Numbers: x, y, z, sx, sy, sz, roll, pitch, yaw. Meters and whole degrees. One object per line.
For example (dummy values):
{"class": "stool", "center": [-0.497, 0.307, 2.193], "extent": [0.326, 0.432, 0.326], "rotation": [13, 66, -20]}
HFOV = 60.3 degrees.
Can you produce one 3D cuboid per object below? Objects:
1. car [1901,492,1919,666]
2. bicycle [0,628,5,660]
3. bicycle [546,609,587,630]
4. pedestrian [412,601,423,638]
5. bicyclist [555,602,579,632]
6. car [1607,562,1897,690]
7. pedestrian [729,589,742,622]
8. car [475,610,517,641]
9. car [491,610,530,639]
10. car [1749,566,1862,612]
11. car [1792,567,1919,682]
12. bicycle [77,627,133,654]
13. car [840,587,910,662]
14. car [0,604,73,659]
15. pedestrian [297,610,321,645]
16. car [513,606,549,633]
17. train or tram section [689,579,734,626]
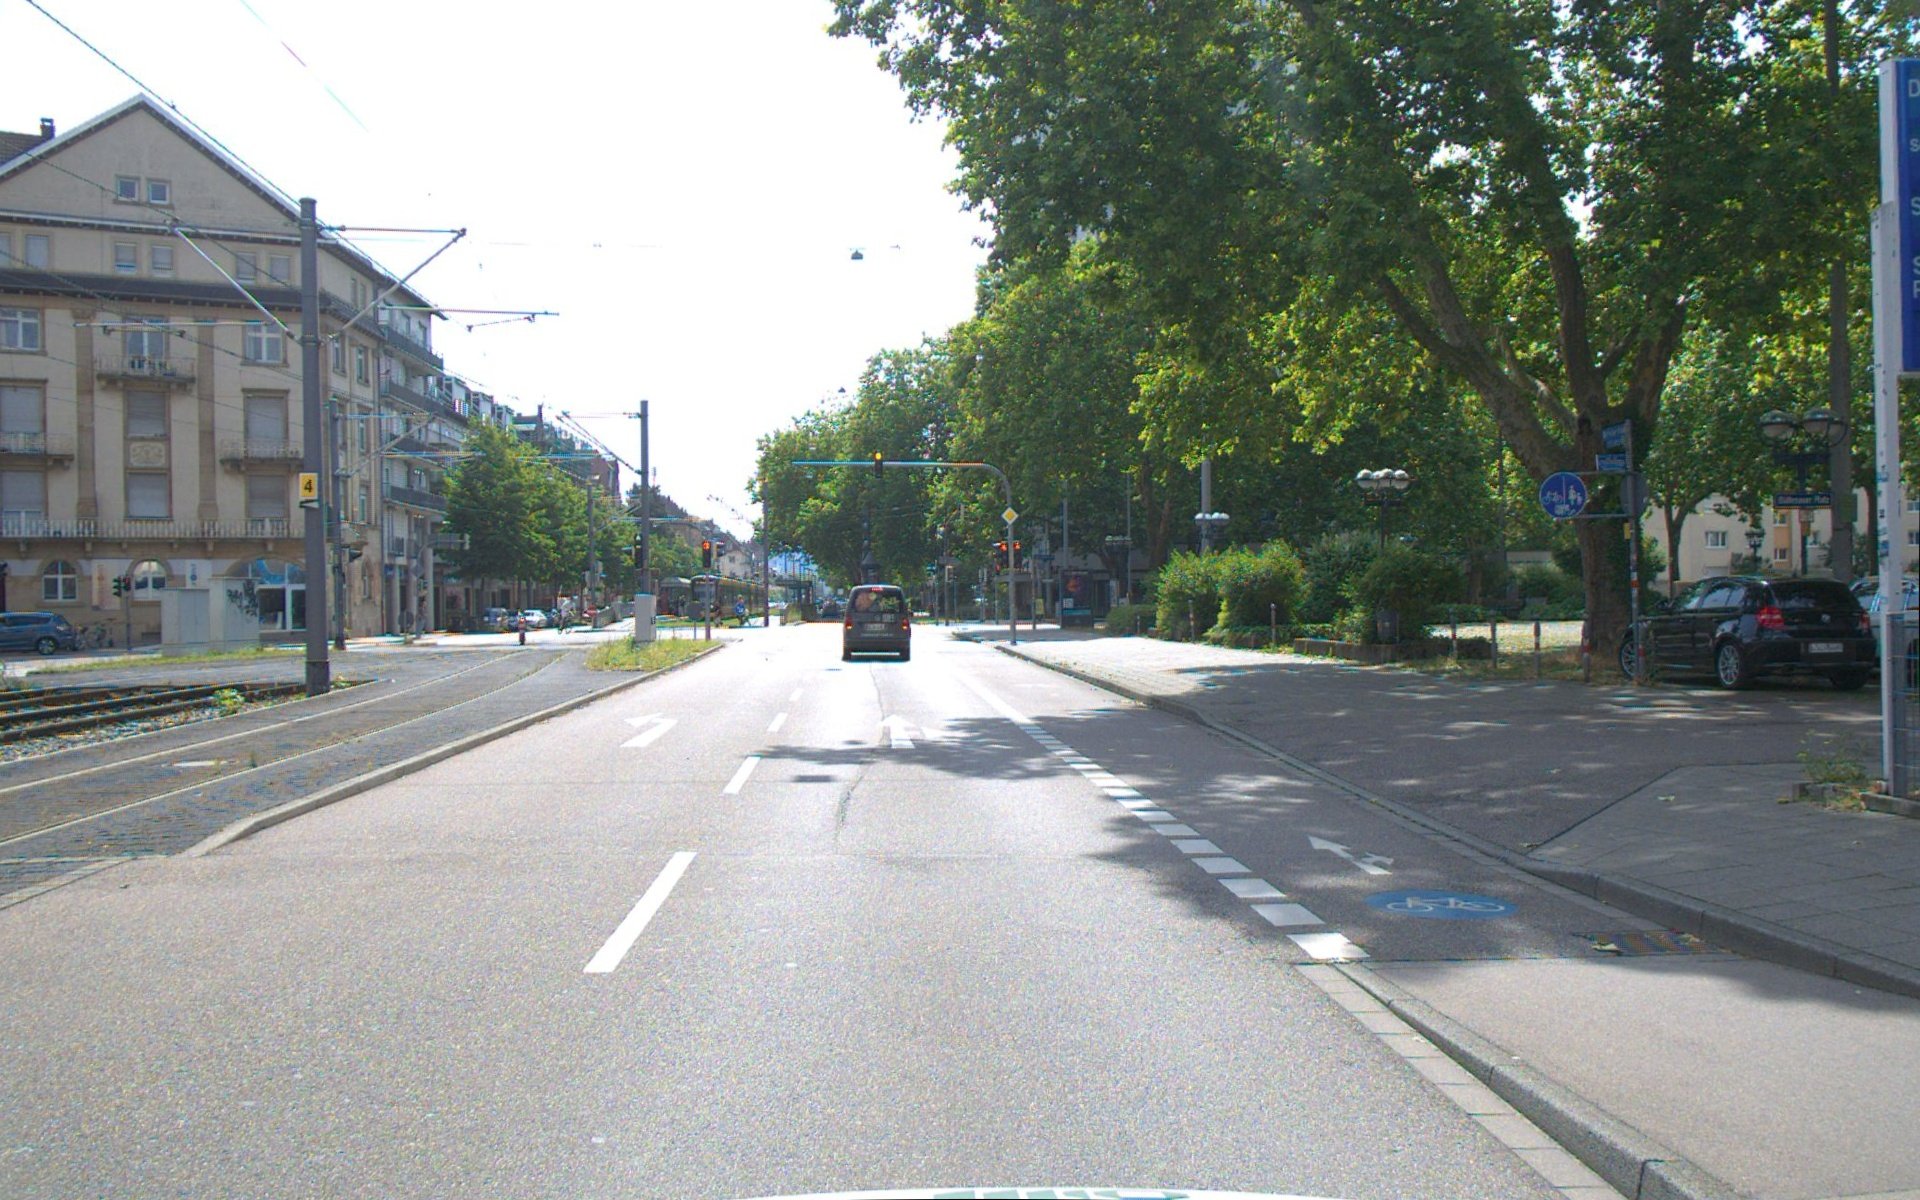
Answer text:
{"class": "car", "center": [15.621, -0.340, 22.458], "extent": [2.069, 2.627, 6.017], "rotation": [-1, 0, -2]}
{"class": "bicycle", "center": [-40.722, 1.842, 67.470], "extent": [3.239, 1.275, 1.000], "rotation": [-1, 0, 13]}
{"class": "bicycle", "center": [-20.306, 1.010, 85.259], "extent": [2.266, 1.067, 0.892], "rotation": [-1, 0, 41]}
{"class": "pedestrian", "center": [-30.042, 1.094, 91.653], "extent": [0.468, 2.049, 0.419], "rotation": [-1, 0, -9]}
{"class": "bicyclist", "center": [-20.272, 0.870, 85.249], "extent": [0.982, 1.538, 0.776], "rotation": [-1, 0, 41]}
{"class": "car", "center": [10.257, 0.304, 21.776], "extent": [1.616, 1.496, 4.039], "rotation": [-1, 0, -5]}
{"class": "pedestrian", "center": [-12.410, 0.298, 91.554], "extent": [0.646, 1.815, 0.660], "rotation": [-1, 0, -4]}
{"class": "car", "center": [-32.630, 1.781, 116.417], "extent": [1.954, 2.049, 3.997], "rotation": [-1, 0, -4]}
{"class": "car", "center": [-32.953, 1.791, 121.243], "extent": [1.954, 2.049, 3.997], "rotation": [-1, 0, -4]}
{"class": "car", "center": [40.554, -0.513, 79.377], "extent": [4.326, 2.049, 2.076], "rotation": [-1, 0, -3]}
{"class": "car", "center": [12.909, 0.291, 21.665], "extent": [1.617, 1.454, 4.036], "rotation": [-1, 0, -7]}
{"class": "bicycle", "center": [-36.655, 1.711, 70.957], "extent": [0.786, 1.071, 2.568], "rotation": [-1, 0, 8]}
{"class": "car", "center": [-2.181, 0.604, 42.504], "extent": [1.715, 1.840, 3.472], "rotation": [0, 0, -3]}
{"class": "car", "center": [-37.335, 1.238, 64.571], "extent": [4.738, 2.049, 1.980], "rotation": [-1, 0, -30]}
{"class": "pedestrian", "center": [-30.374, 1.287, 77.150], "extent": [0.855, 1.623, 0.683], "rotation": [-1, 0, -42]}
{"class": "car", "center": [-33.661, 1.503, 129.718], "extent": [1.954, 2.049, 3.997], "rotation": [-1, 0, -4]}
{"class": "train or tram section", "center": [-19.289, 0.194, 128.899], "extent": [2.196, 3.389, 12.962], "rotation": [-1, 0, -3]}
